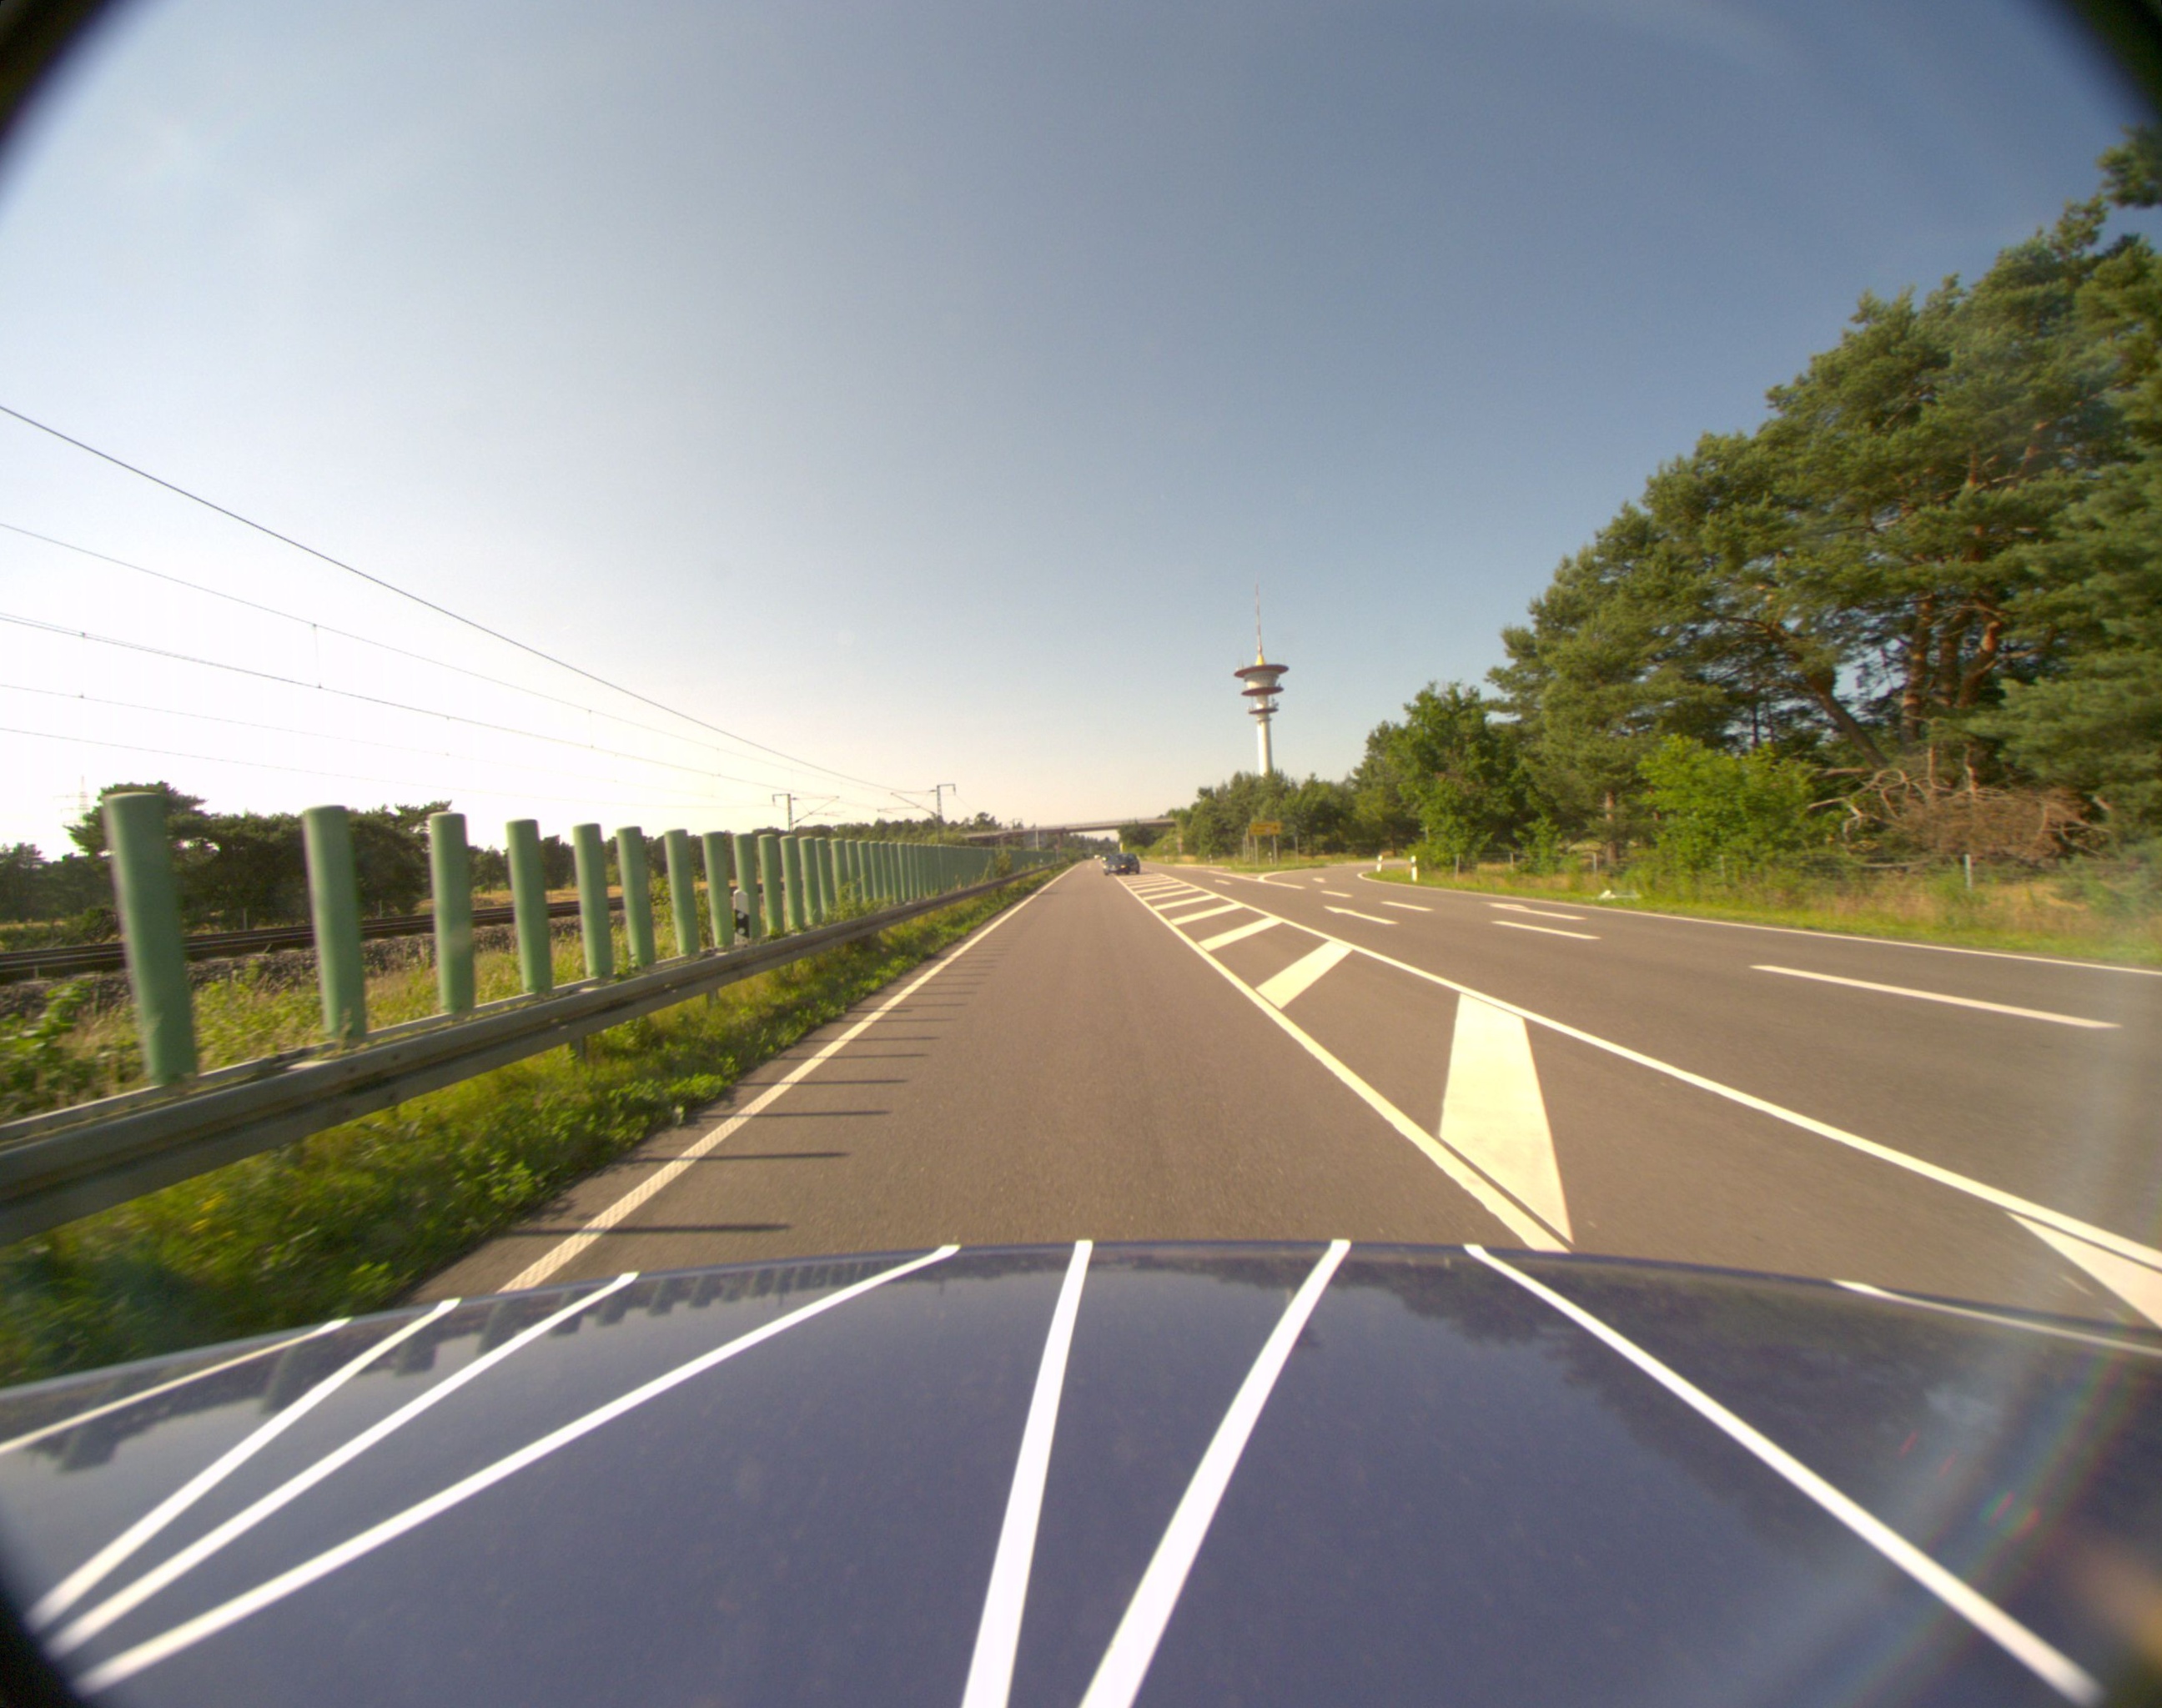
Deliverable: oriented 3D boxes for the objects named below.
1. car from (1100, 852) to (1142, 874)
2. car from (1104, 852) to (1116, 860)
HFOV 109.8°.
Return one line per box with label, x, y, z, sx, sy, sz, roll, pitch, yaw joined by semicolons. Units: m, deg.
car;2.930;0.628;55.204;1.866;1.533;4.082;-1;1;21
car;5.250;0.345;136.753;1.998;1.533;4.332;-1;0;2
